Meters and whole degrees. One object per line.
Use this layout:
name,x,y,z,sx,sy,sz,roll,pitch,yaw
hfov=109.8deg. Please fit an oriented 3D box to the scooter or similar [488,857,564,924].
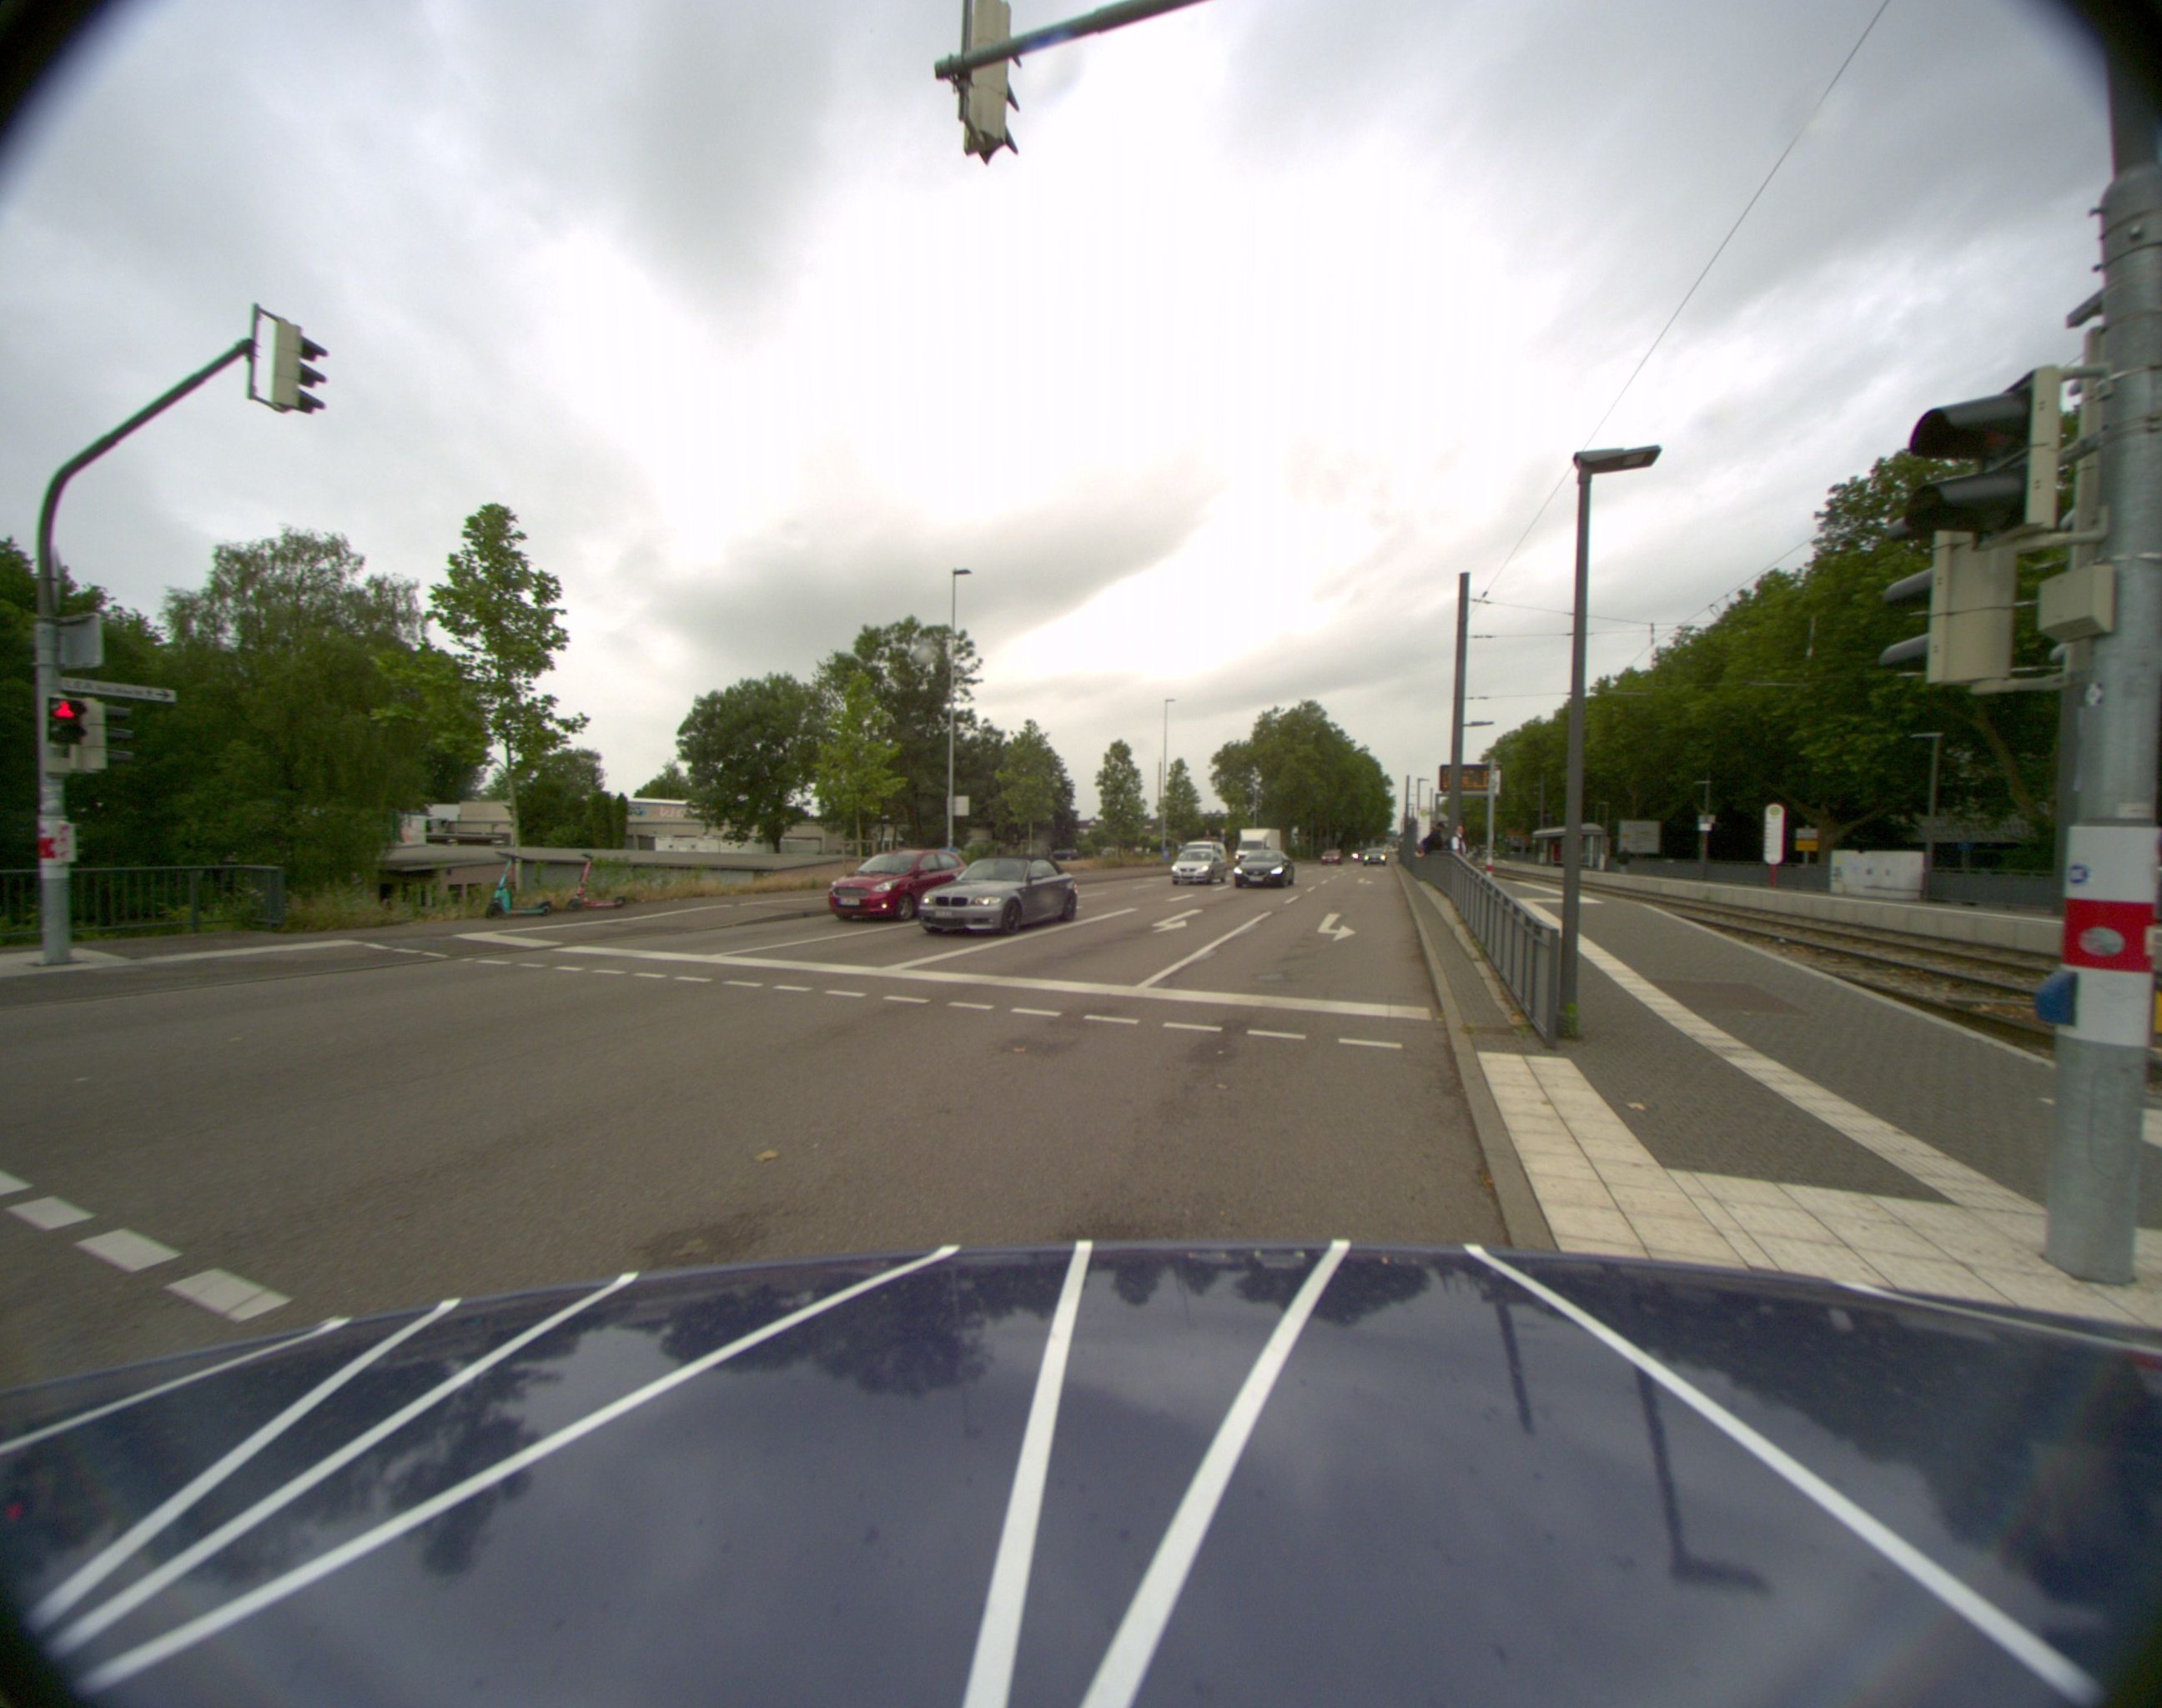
scooter or similar,-10.896,0.692,14.942,0.390,1.236,1.156,3,2,24

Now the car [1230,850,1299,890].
car,7.104,0.542,29.119,1.995,1.383,4.350,0,1,21

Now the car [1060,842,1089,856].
car,-0.794,-0.639,93.689,2.119,1.686,4.657,0,0,19

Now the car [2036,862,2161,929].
car,29.582,1.166,21.039,1.793,1.577,4.147,4,3,18

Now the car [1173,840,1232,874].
car,7.213,0.129,44.640,2.095,1.869,5.129,0,1,25

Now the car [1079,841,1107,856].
car,1.628,-0.740,102.774,2.312,2.002,4.565,0,0,22

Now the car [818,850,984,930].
car,-3.859,0.694,16.973,1.652,1.552,3.777,0,1,23

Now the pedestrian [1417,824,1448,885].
pedestrian,10.252,0.005,22.168,0.786,1.732,0.587,0,2,26

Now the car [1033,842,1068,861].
car,-3.395,-0.330,85.933,2.184,2.002,4.566,3,1,23

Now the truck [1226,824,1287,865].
truck,13.441,-0.719,57.803,2.820,2.906,6.556,0,1,29

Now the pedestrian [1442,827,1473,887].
pedestrian,9.932,0.064,20.044,0.709,1.551,0.633,0,2,25

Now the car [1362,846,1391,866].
car,26.252,0.159,67.409,1.957,1.674,4.006,1,2,27

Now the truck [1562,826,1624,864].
truck,54.110,-1.000,80.613,3.253,3.643,9.911,4,2,22

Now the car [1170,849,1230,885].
car,5.091,0.511,32.157,1.679,1.411,3.856,0,1,22

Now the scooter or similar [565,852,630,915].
scooter or similar,-10.137,0.602,15.948,0.374,1.209,1.049,3,5,30

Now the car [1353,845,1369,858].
car,37.509,-0.358,101.814,1.709,1.664,3.720,2,1,25

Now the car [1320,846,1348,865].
car,24.403,0.094,73.216,1.889,1.673,4.006,1,2,27

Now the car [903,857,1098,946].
car,-1.364,0.789,14.794,1.872,1.383,4.350,0,1,23

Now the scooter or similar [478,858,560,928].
scooter or similar,-10.641,0.707,14.421,0.476,1.236,1.157,3,2,30
